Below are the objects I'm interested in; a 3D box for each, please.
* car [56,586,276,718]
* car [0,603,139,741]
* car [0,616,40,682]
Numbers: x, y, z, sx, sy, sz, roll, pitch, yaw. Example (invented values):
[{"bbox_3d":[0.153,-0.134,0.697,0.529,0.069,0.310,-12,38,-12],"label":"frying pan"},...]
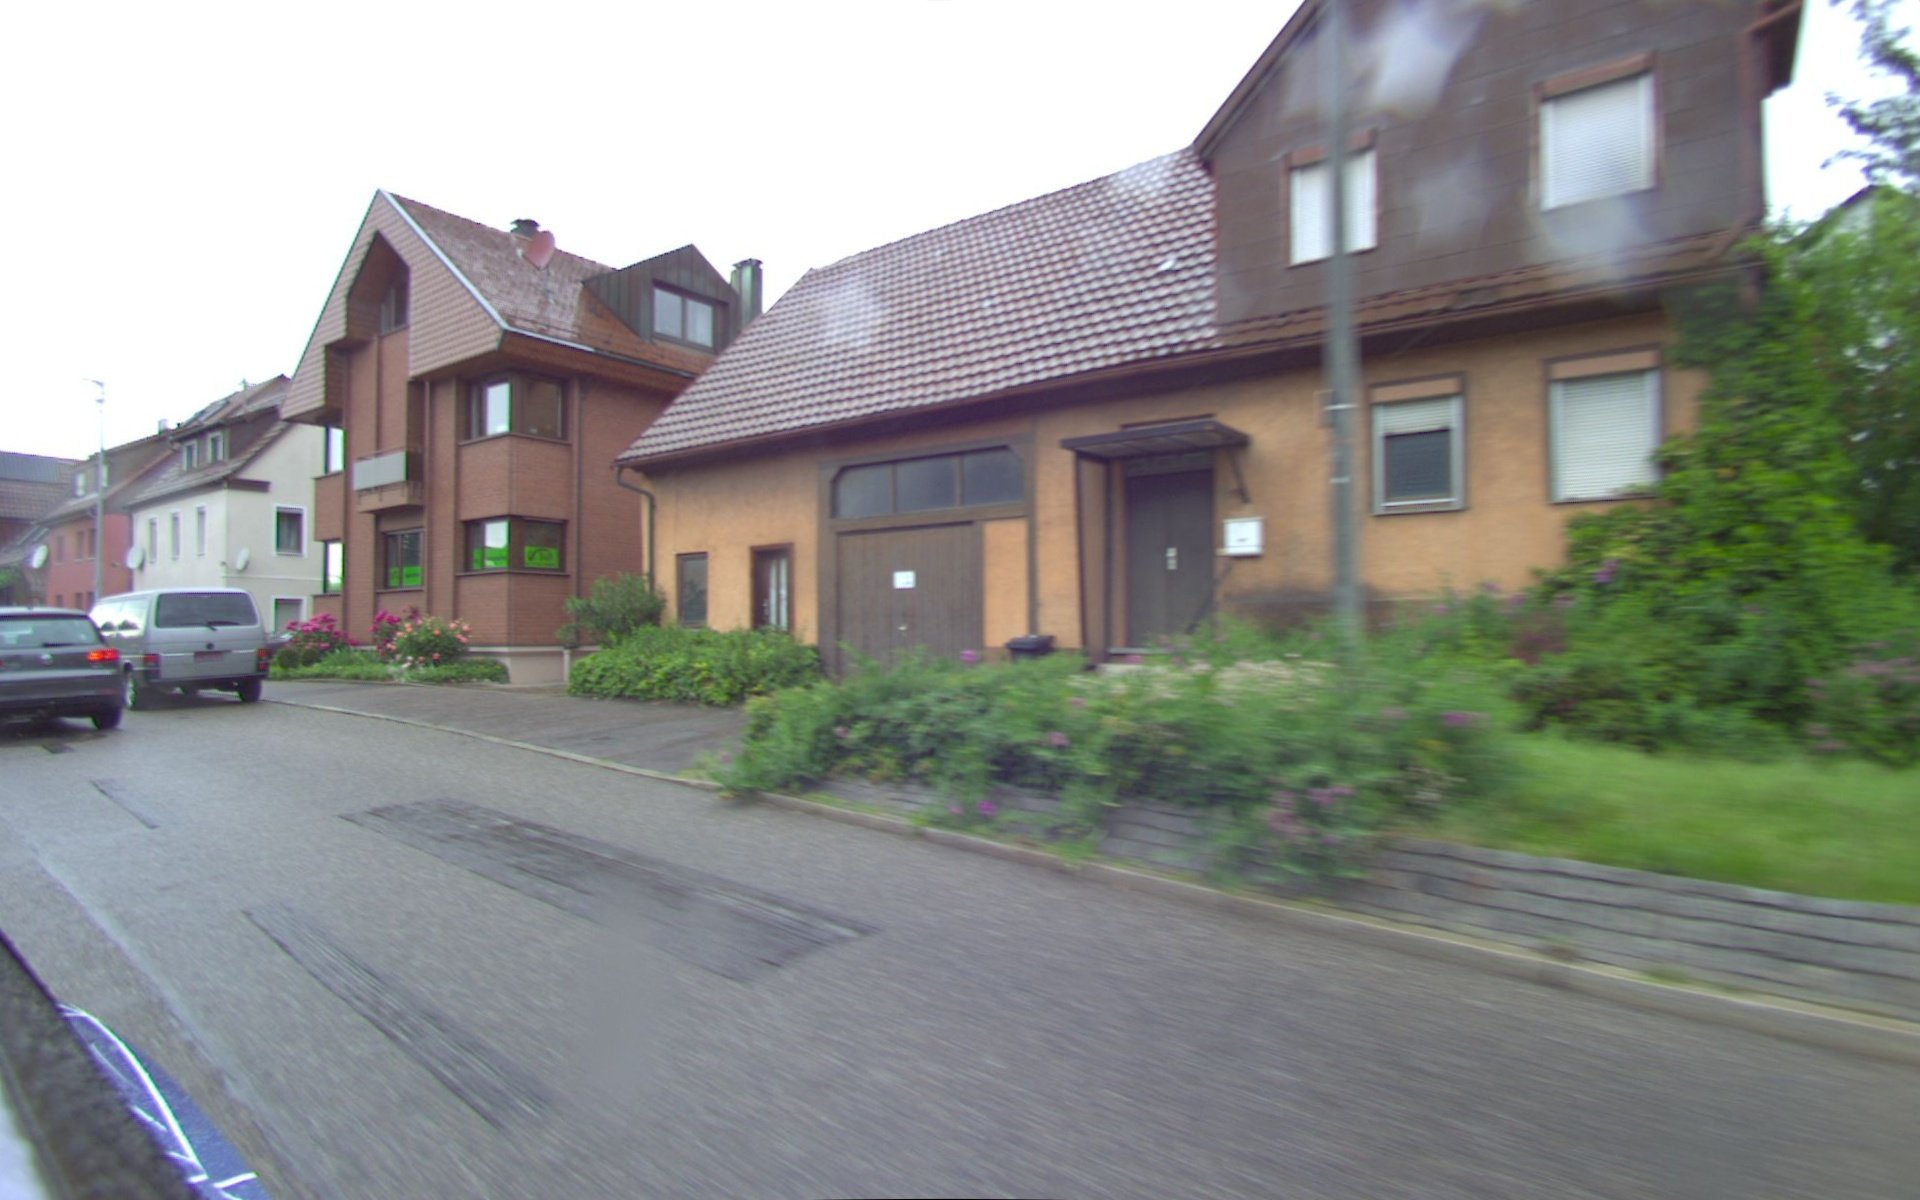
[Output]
[{"bbox_3d":[-14.182,0.869,17.960,5.206,2.029,1.804,-1,-2,37],"label":"car"},{"bbox_3d":[-12.870,0.902,13.666,3.992,1.652,1.782,-1,-2,36],"label":"car"},{"bbox_3d":[-25.677,1.241,26.167,4.644,1.631,1.750,-1,-2,34],"label":"car"}]
